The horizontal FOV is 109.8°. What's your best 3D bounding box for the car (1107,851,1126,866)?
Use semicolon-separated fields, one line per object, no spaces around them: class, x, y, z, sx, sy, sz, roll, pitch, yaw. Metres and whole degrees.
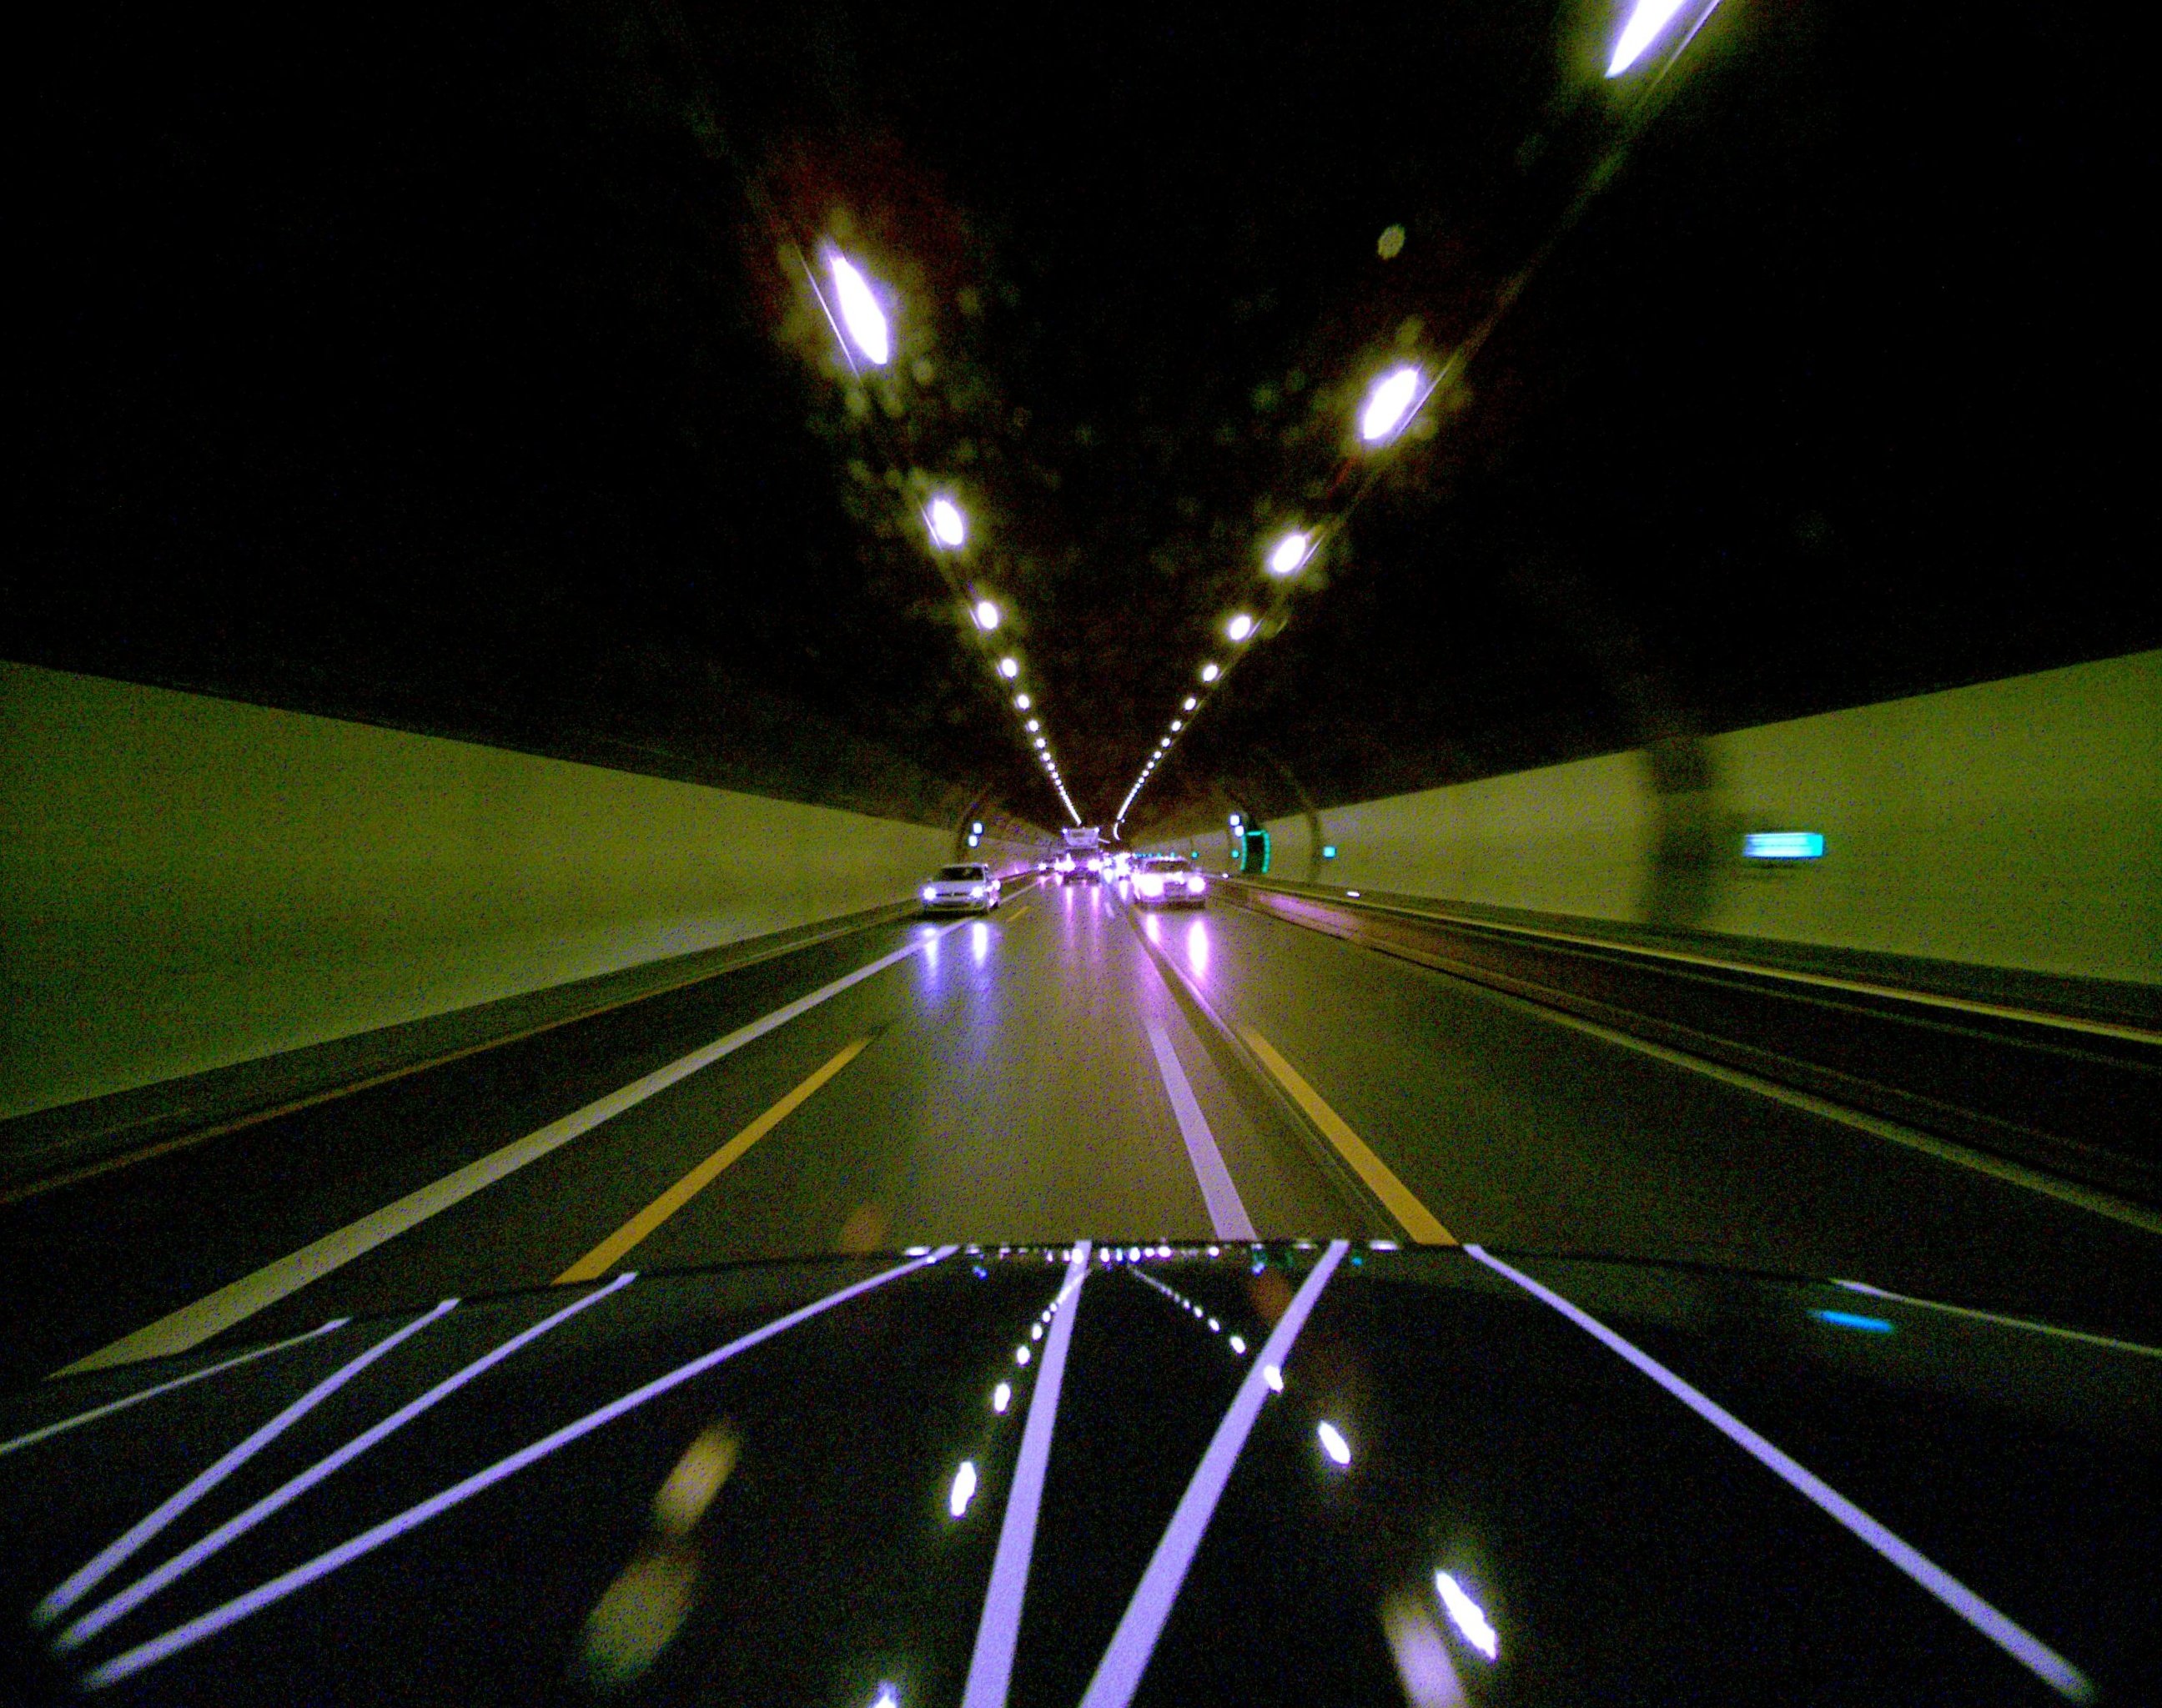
car;4.303;0.558;92.627;1.958;1.528;4.757;-5;1;0

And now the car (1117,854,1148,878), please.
car;3.209;0.741;47.969;1.657;1.395;3.656;-2;1;0

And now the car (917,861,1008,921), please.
car;-3.334;1.010;22.147;1.801;1.452;4.035;-2;0;2

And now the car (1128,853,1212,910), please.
car;2.544;0.754;22.918;1.908;1.476;4.943;-2;0;0

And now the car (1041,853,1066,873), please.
car;-2.434;0.803;68.852;1.958;1.528;4.757;-4;1;0

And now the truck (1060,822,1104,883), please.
truck;0.082;-0.109;45.478;2.262;3.238;7.382;-3;1;0

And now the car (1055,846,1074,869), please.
car;-2.114;0.390;97.358;2.124;2.629;6.229;-4;1;0
